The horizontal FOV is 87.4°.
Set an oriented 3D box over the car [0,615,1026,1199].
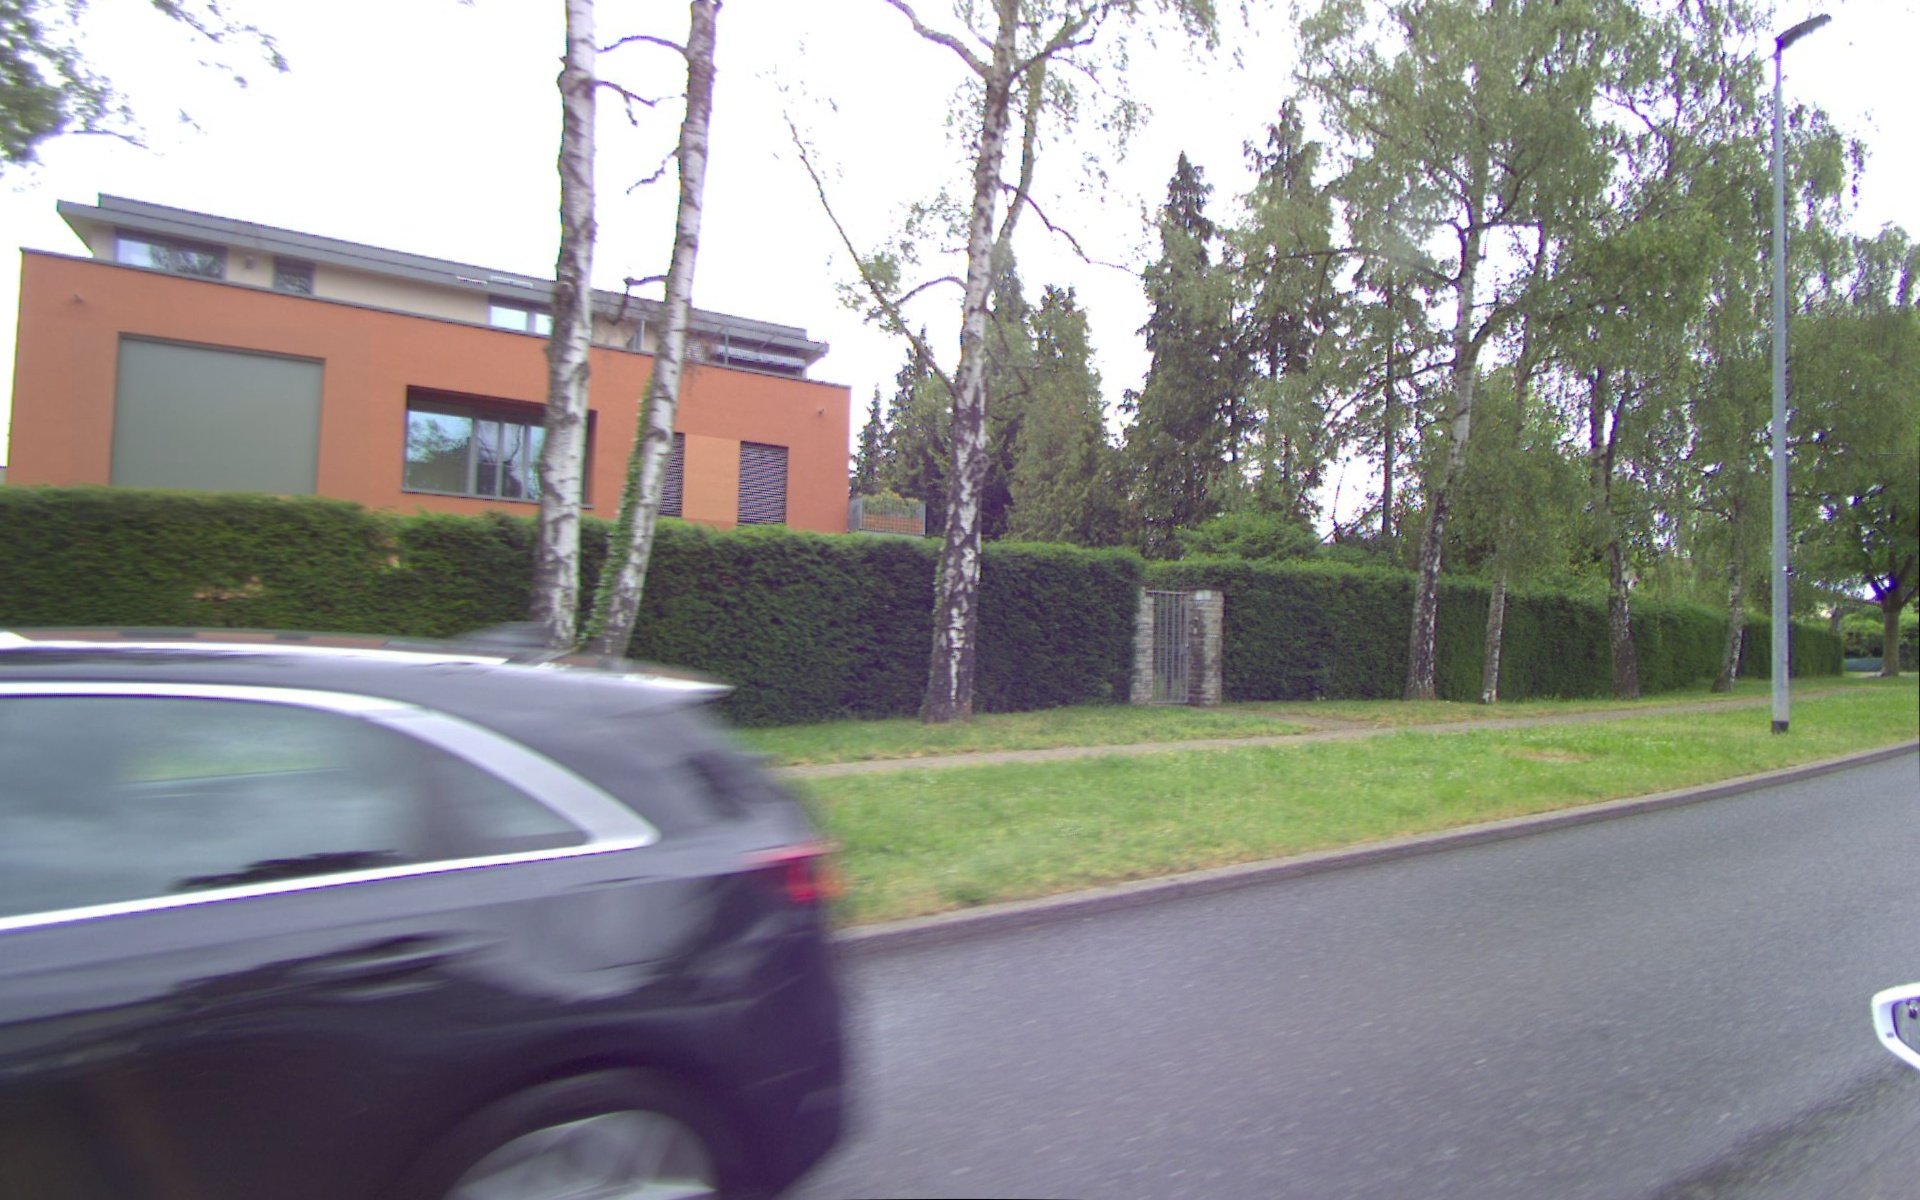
[{"bbox_3d":[-2.059,0.773,2.000,4.108,1.460,1.746,1,0,-30],"label":"car"}]
